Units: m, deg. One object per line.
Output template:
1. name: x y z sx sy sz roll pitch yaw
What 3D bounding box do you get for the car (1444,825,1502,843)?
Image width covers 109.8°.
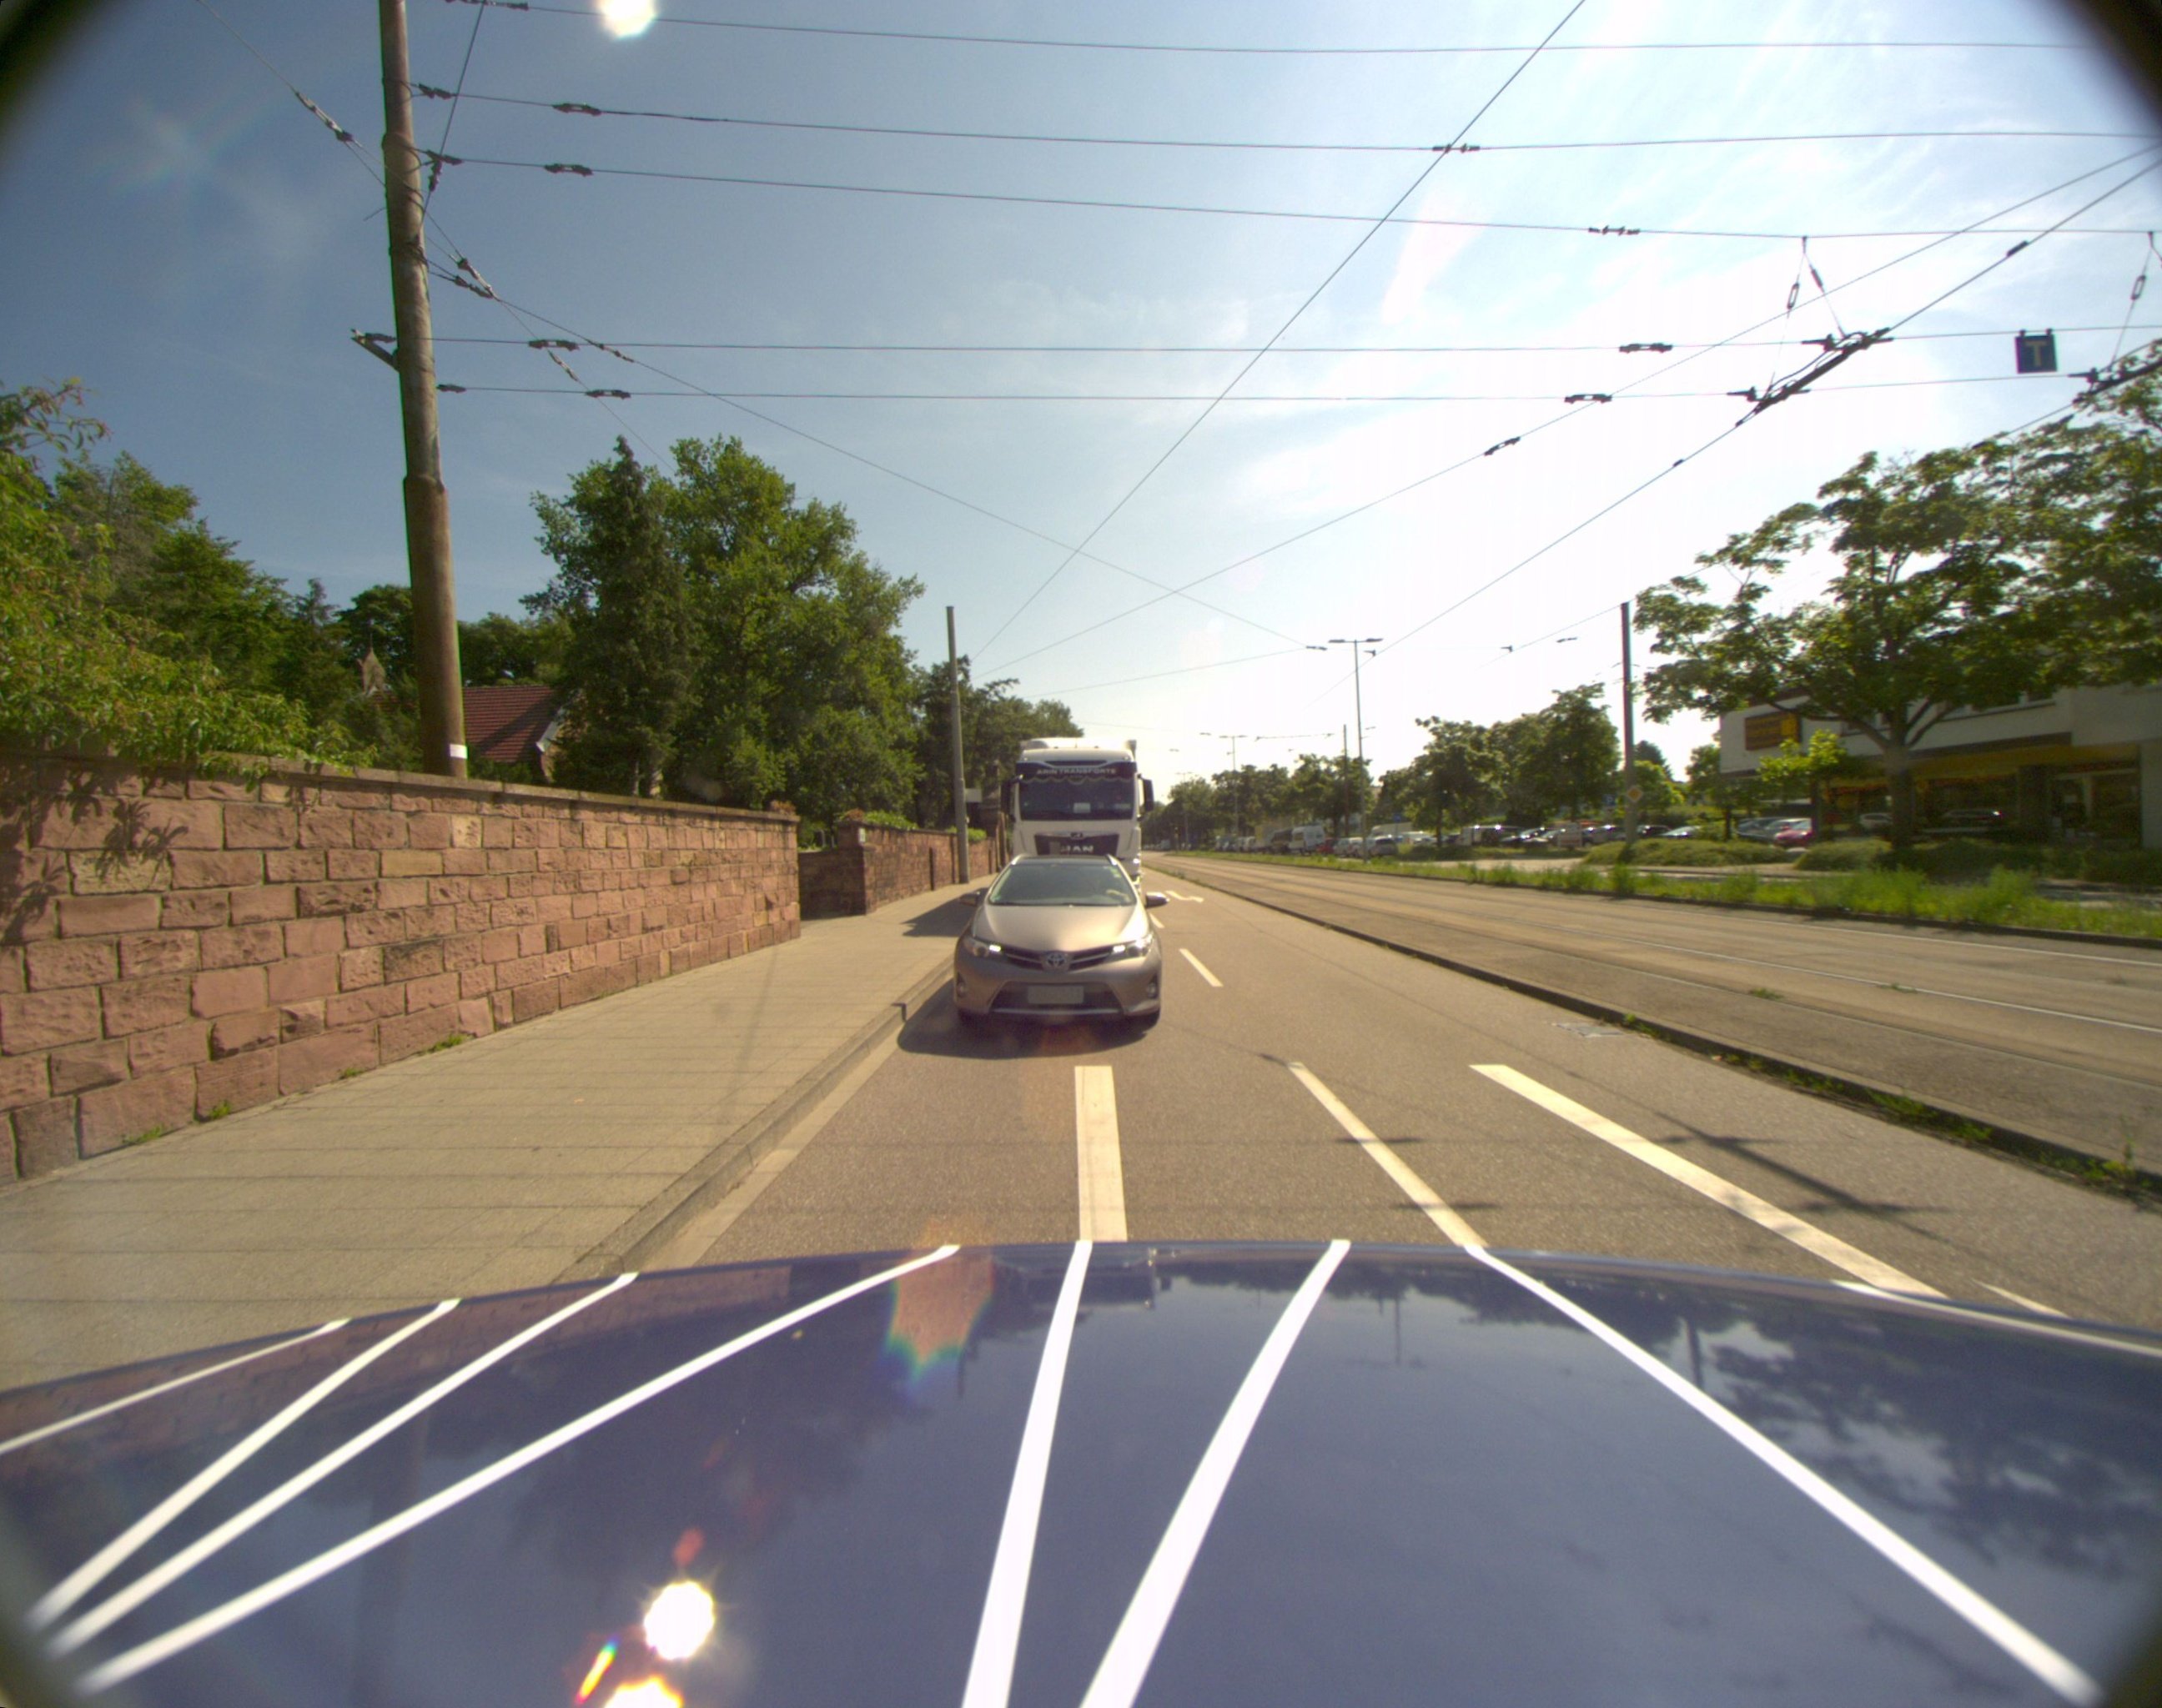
1. car: 30.448 -1.552 59.105 3.624 1.277 1.712 -2 1 -1

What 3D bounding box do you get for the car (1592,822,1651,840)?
1. car: 43.811 -1.863 61.648 3.624 1.354 1.712 -2 1 -1

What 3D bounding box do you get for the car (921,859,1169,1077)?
1. car: -0.229 0.846 7.737 1.742 1.424 4.461 -2 1 1

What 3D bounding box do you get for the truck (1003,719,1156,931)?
1. truck: 0.037 -0.594 18.434 2.746 3.852 9.109 0 1 1

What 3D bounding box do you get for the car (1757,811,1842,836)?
1. car: 43.874 -1.856 46.449 3.624 1.354 1.712 -2 1 -1

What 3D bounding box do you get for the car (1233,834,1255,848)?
1. car: 21.104 -1.651 98.397 1.893 1.757 4.231 -2 1 0

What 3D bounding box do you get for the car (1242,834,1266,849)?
1. car: 20.831 -1.528 91.463 1.893 1.724 4.231 -2 1 0

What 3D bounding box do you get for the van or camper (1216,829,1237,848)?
1. van or camper: 21.193 -2.250 111.065 2.114 2.605 5.451 -1 1 1

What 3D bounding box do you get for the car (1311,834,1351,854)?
1. car: 20.578 -0.832 62.764 1.893 1.486 4.231 -2 1 0

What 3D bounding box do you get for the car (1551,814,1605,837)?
1. car: 43.648 -2.488 66.755 3.624 1.767 1.712 -2 1 -1

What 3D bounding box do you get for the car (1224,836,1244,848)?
1. car: 20.955 -1.657 104.281 1.893 1.551 4.231 -2 1 0

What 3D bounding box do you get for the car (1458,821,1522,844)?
1. car: 30.522 -1.588 56.778 3.749 1.560 1.950 -2 1 -1

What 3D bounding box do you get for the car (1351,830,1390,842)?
1. car: 32.074 -1.983 84.287 3.624 1.274 1.712 -2 1 -1

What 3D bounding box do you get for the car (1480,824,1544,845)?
1. car: 30.770 -1.360 54.314 3.624 1.354 1.712 -2 1 -1

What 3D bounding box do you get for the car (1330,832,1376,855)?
1. car: 20.408 -0.786 57.269 1.893 1.551 4.284 -2 1 0

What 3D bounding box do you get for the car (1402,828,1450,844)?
1. car: 31.761 -1.674 70.061 3.624 1.274 1.712 -2 1 -1

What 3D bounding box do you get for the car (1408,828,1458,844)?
1. car: 31.482 -1.622 67.950 3.624 1.274 1.712 -2 1 -1

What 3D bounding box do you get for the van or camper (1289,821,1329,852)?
1. van or camper: 20.334 -1.540 67.905 2.040 2.617 4.839 -2 1 0

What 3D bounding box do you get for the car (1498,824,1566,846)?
1. car: 30.566 -1.298 51.572 3.624 1.354 1.712 -2 1 -1

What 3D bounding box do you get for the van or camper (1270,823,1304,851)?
1. van or camper: 20.280 -1.690 74.958 2.040 2.617 4.839 -2 1 0

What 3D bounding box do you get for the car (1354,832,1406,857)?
1. car: 20.425 -0.655 52.068 1.892 1.486 4.285 -5 1 2

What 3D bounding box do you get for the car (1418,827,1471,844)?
1. car: 31.004 -1.548 64.810 3.624 1.274 1.812 -2 1 -1

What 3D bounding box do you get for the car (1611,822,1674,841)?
1. car: 43.616 -1.727 59.060 3.624 1.354 1.712 -2 1 -1

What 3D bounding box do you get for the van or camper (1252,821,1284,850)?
1. van or camper: 20.357 -2.034 82.844 2.128 2.968 5.280 -2 1 0

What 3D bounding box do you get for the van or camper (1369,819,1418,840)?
1. van or camper: 44.948 -3.549 109.411 6.081 2.715 2.299 -2 1 3
